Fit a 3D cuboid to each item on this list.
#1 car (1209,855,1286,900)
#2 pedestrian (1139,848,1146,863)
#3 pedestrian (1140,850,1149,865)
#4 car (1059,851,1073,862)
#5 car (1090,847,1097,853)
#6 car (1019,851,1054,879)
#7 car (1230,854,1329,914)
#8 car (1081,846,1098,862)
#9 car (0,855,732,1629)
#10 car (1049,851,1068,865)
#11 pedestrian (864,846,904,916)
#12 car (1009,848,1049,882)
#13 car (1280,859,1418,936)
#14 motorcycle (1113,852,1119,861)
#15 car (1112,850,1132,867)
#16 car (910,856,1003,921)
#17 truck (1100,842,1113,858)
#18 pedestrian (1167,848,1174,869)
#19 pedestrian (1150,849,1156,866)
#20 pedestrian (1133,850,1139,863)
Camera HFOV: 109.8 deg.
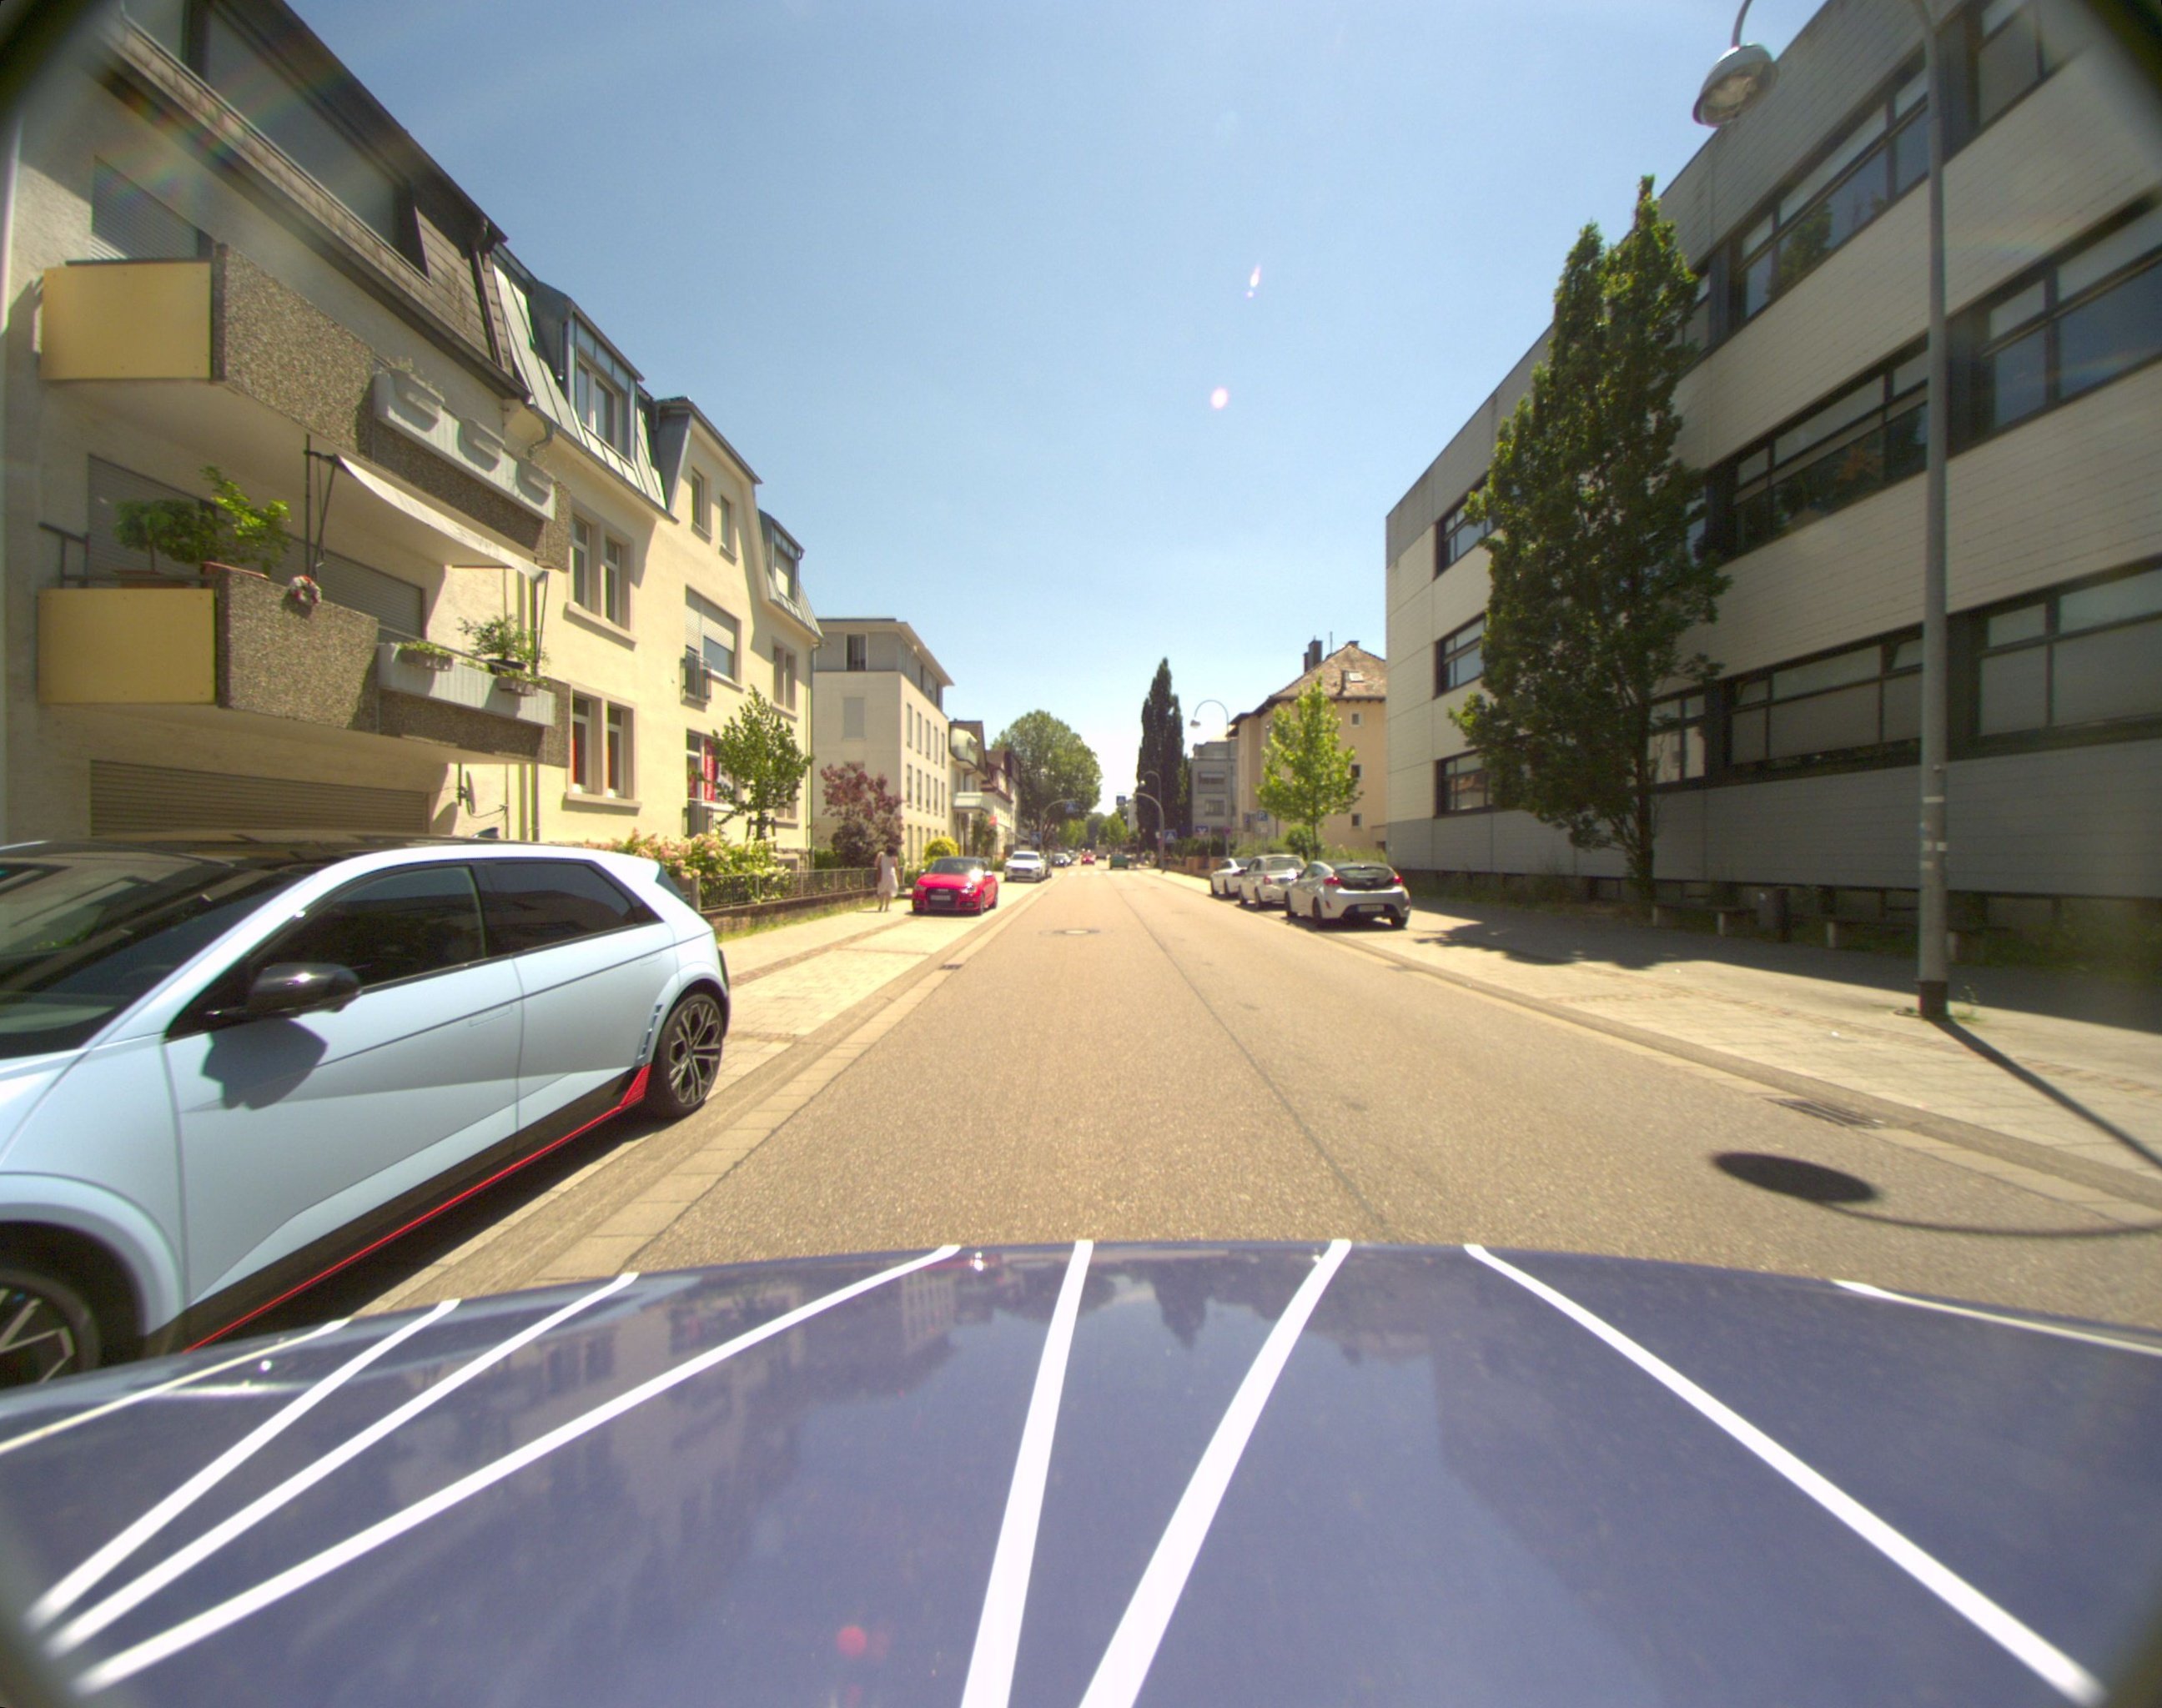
[{"bbox_3d":[5.869,0.784,27.341,1.827,1.403,4.577,-1,0,1],"label":"car"},{"bbox_3d":[7.652,0.172,94.874,0.750,1.760,0.951,-1,1,0],"label":"pedestrian"},{"bbox_3d":[7.226,0.422,86.616,0.847,1.635,0.751,-3,1,2],"label":"pedestrian"},{"bbox_3d":[-1.794,0.303,92.220,1.561,1.333,4.173,1,1,0],"label":"car"},{"bbox_3d":[3.282,-1.180,204.856,1.732,1.500,4.291,-1,2,-1],"label":"car"},{"bbox_3d":[-2.710,0.648,47.223,1.709,1.547,4.748,2,0,1],"label":"car"},{"bbox_3d":[5.725,0.794,22.412,1.827,1.503,4.289,-2,0,1],"label":"car"},{"bbox_3d":[1.099,-0.021,97.119,2.000,1.880,4.293,-2,1,0],"label":"car"},{"bbox_3d":[-3.220,0.845,2.654,1.848,1.610,4.427,2,0,1],"label":"car"},{"bbox_3d":[-2.362,0.413,80.994,1.831,1.418,4.700,1,1,1],"label":"car"},{"bbox_3d":[-4.848,0.652,18.762,0.742,1.660,0.706,2,1,-1],"label":"pedestrian"},{"bbox_3d":[-2.765,0.557,41.195,1.709,1.656,4.580,3,1,1],"label":"car"},{"bbox_3d":[5.707,0.868,16.695,1.752,1.401,3.933,-2,0,2],"label":"car"},{"bbox_3d":[4.360,0.259,94.851,0.700,1.101,1.790,0,0,3],"label":"motorcycle"},{"bbox_3d":[3.959,0.424,74.169,1.826,1.579,4.100,-2,1,2],"label":"car"},{"bbox_3d":[-3.117,0.818,19.785,1.607,1.432,3.853,3,0,2],"label":"car"},{"bbox_3d":[5.126,-0.789,149.830,2.425,2.966,6.258,0,0,3],"label":"truck"},{"bbox_3d":[7.334,0.365,62.334,0.538,1.675,0.708,-1,1,1],"label":"pedestrian"},{"bbox_3d":[6.988,0.341,73.429,0.538,1.675,0.708,-1,1,1],"label":"pedestrian"},{"bbox_3d":[6.823,0.323,94.805,0.622,1.667,0.903,-3,1,0],"label":"pedestrian"}]
